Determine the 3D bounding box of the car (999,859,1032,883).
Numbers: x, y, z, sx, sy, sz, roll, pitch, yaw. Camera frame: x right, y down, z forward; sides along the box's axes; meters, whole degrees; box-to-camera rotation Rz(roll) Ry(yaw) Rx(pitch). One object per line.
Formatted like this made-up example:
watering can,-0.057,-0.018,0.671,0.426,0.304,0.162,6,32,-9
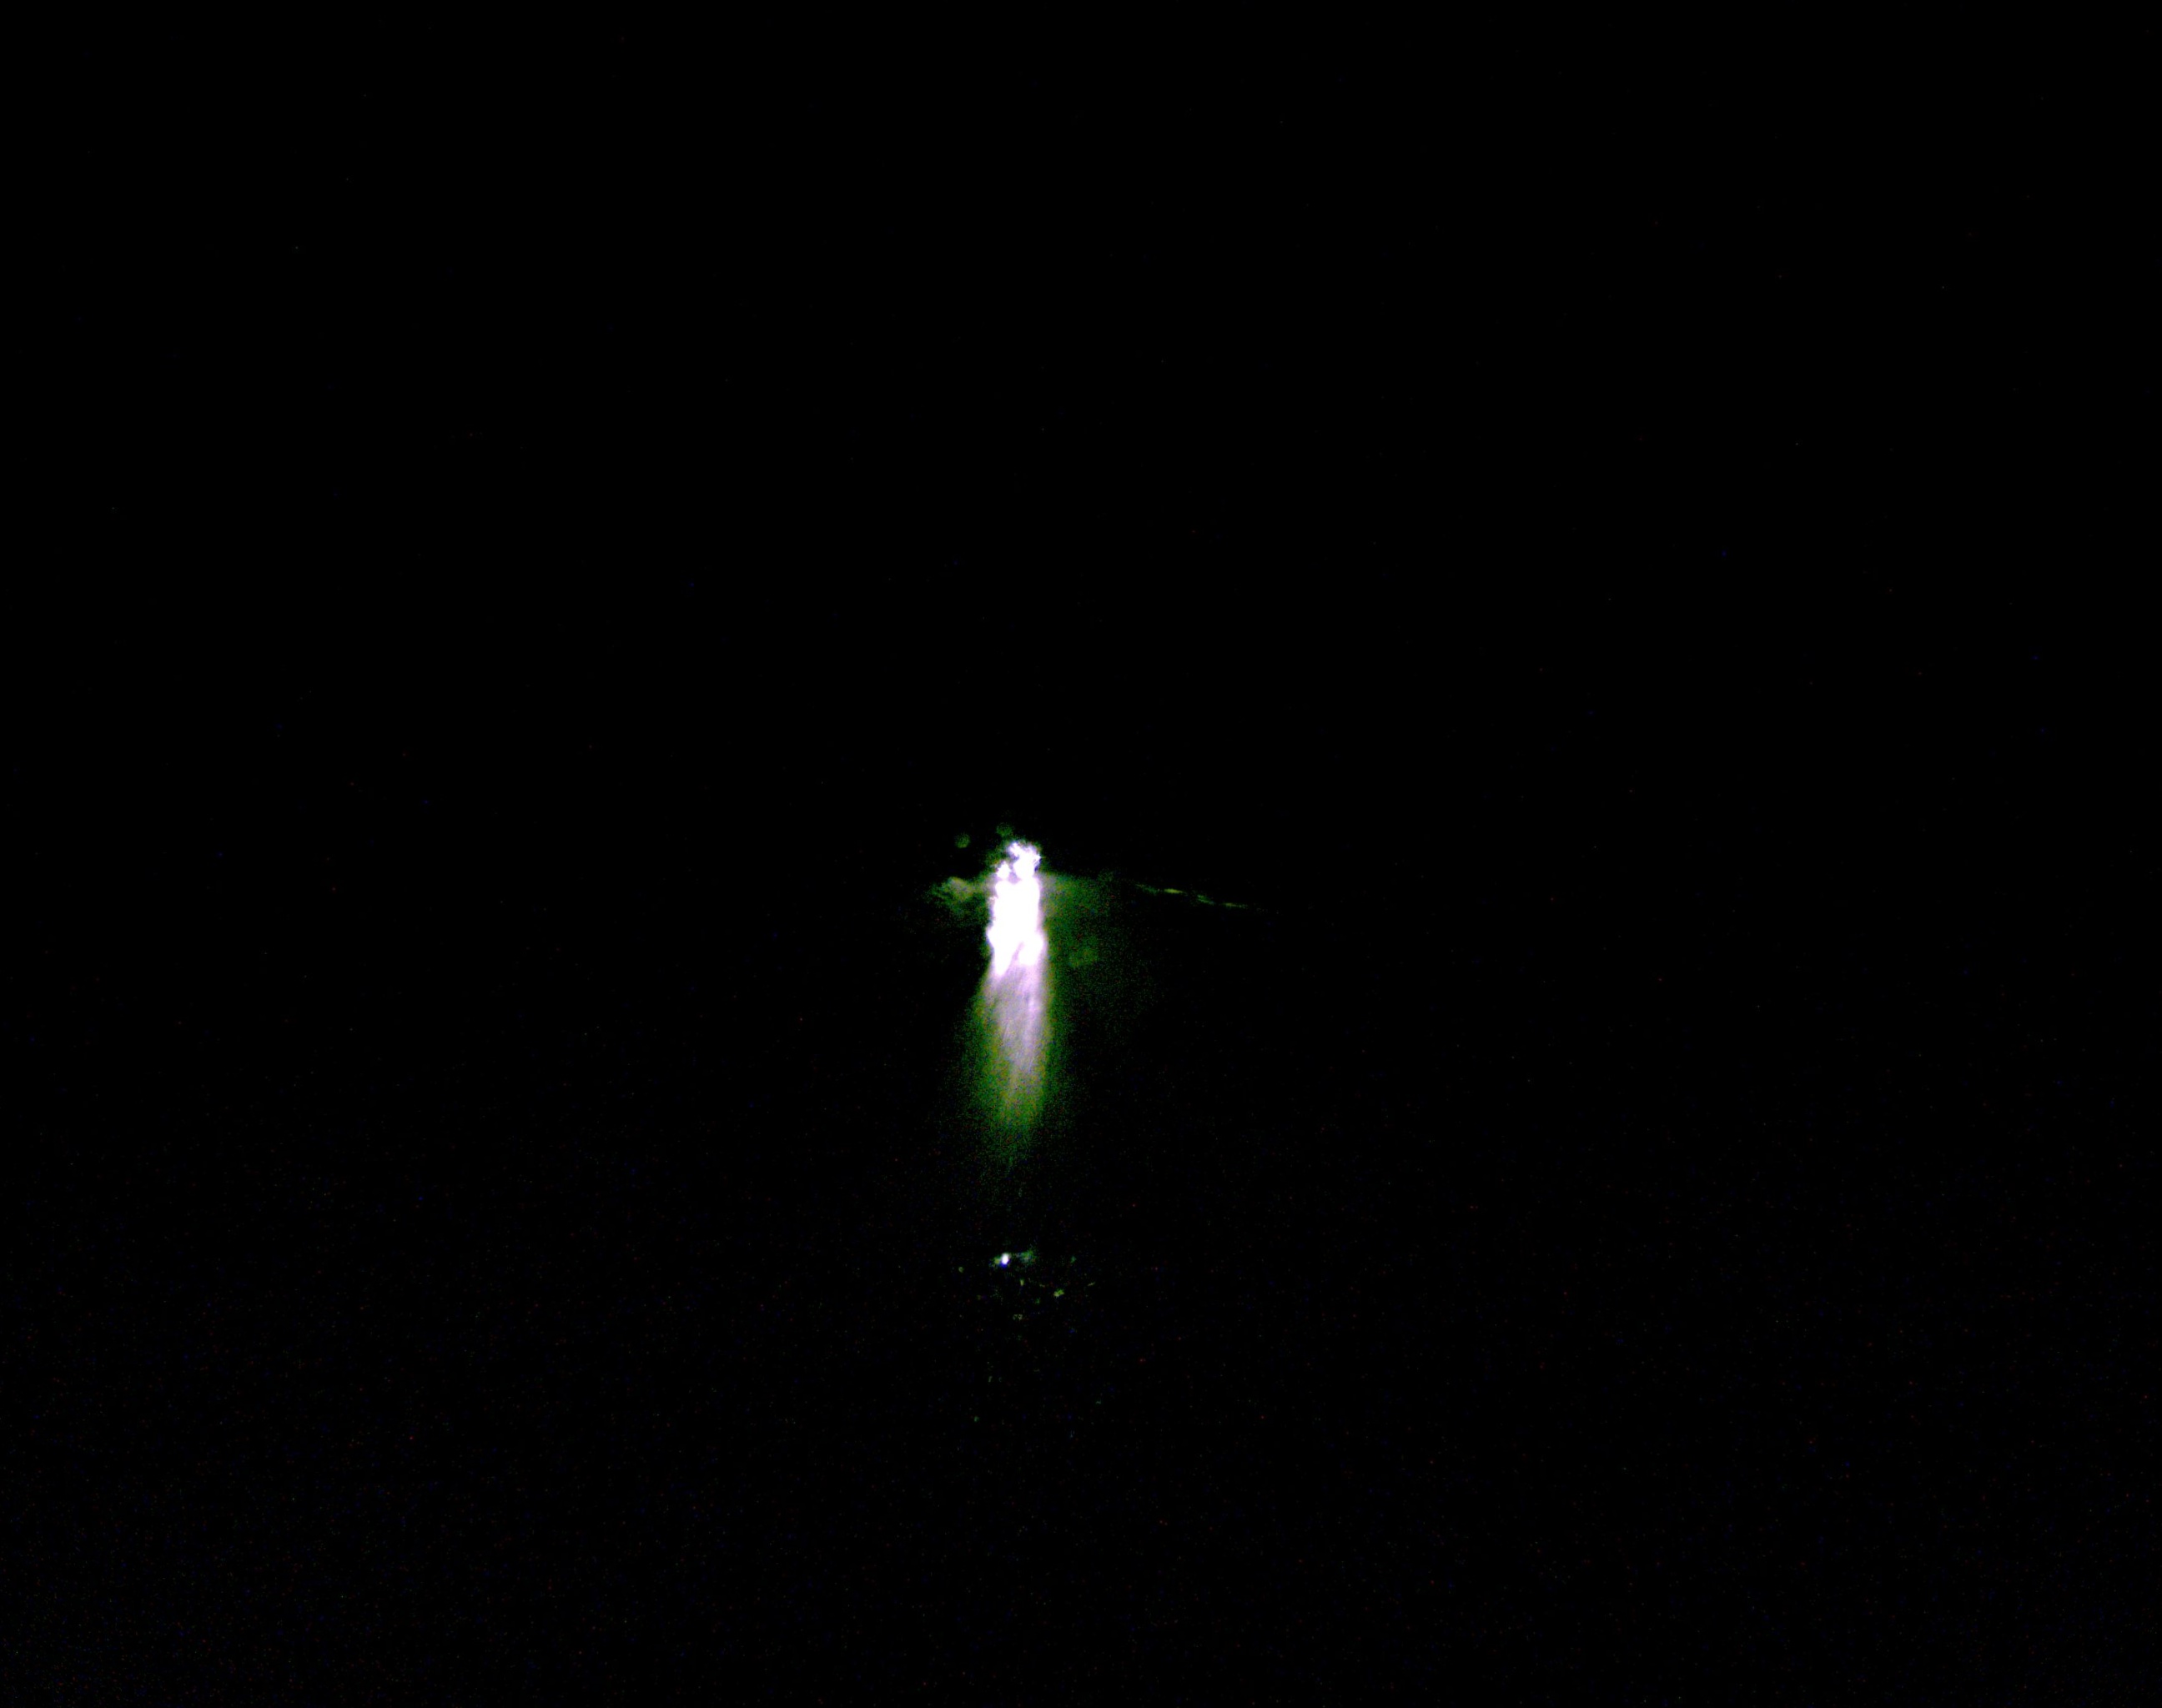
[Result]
car,-4.431,1.117,50.822,2.000,1.412,3.997,-1,1,-7
